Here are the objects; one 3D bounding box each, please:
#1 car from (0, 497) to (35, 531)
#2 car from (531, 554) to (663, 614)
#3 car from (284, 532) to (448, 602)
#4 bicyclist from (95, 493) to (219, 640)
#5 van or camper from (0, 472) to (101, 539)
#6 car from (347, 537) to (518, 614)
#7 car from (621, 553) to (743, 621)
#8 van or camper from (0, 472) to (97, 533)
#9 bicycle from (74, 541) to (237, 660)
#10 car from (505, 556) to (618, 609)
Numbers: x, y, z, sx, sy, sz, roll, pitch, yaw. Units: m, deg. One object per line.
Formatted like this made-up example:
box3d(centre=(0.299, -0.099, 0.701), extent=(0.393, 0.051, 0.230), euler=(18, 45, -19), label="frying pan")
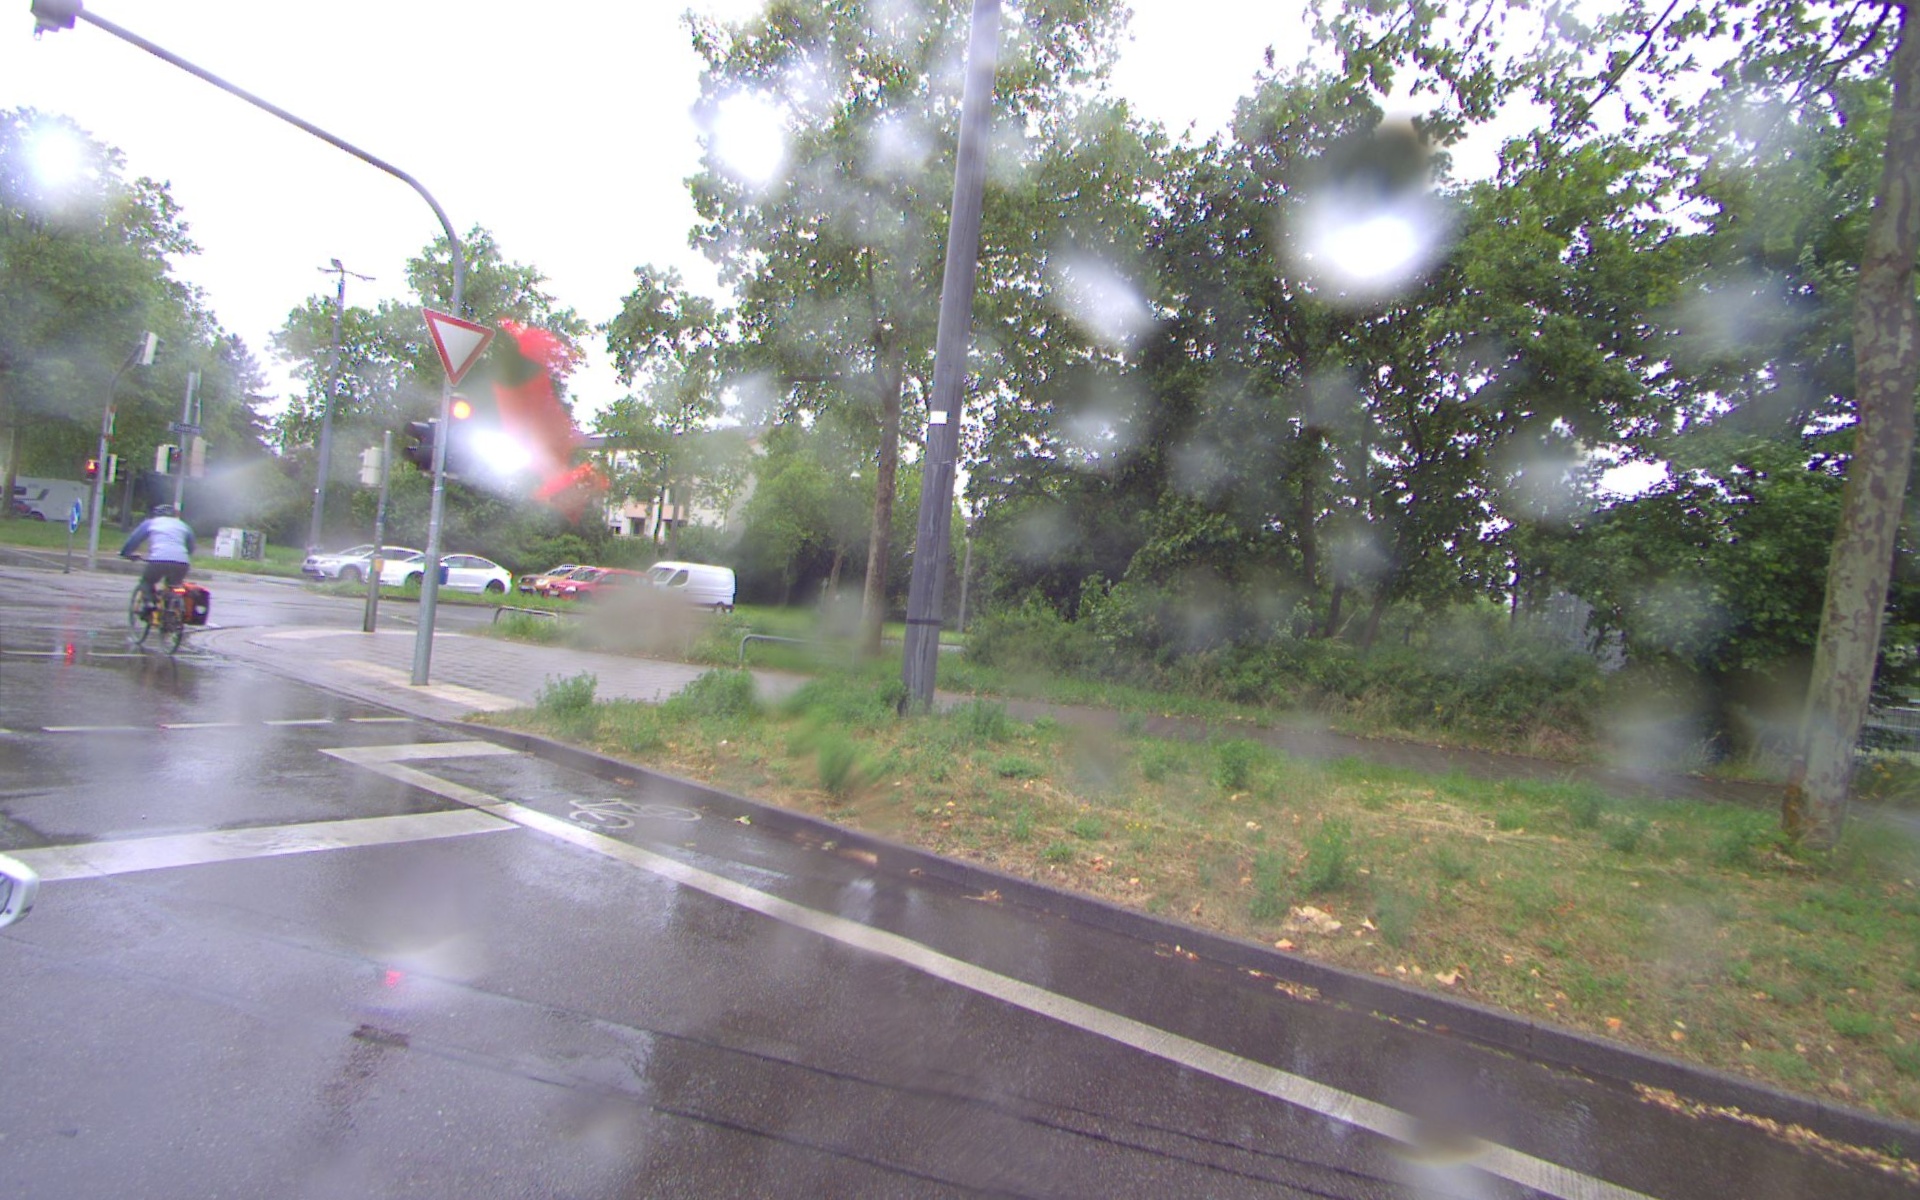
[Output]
box3d(centre=(-55.794, -5.139, 57.163), extent=(4.424, 1.736, 1.980), euler=(9, -2, -37), label="car")
box3d(centre=(-13.835, -0.561, 38.634), extent=(1.760, 1.625, 4.615), euler=(6, -2, 29), label="car")
box3d(centre=(-20.163, -1.067, 34.369), extent=(1.900, 1.710, 4.407), euler=(7, -2, 26), label="car")
box3d(centre=(-9.038, -0.373, 11.337), extent=(0.830, 1.523, 0.692), euler=(6, -1, 29), label="bicyclist")
box3d(centre=(-56.931, -5.904, 60.769), extent=(7.296, 3.215, 3.226), euler=(9, -2, -40), label="van or camper")
box3d(centre=(-17.158, -0.744, 32.987), extent=(1.900, 1.849, 4.608), euler=(7, -2, 26), label="car")
box3d(centre=(-13.037, -0.552, 47.580), extent=(1.966, 2.419, 5.619), euler=(6, -2, 29), label="car")
box3d(centre=(-63.247, -6.729, 67.595), extent=(7.388, 3.215, 3.231), euler=(9, -2, -36), label="van or camper")
box3d(centre=(-9.075, -0.006, 11.333), extent=(1.853, 1.130, 0.692), euler=(6, -2, 29), label="bicycle")
box3d(centre=(-16.396, -0.690, 41.576), extent=(1.759, 1.625, 4.069), euler=(7, -2, 26), label="car")
